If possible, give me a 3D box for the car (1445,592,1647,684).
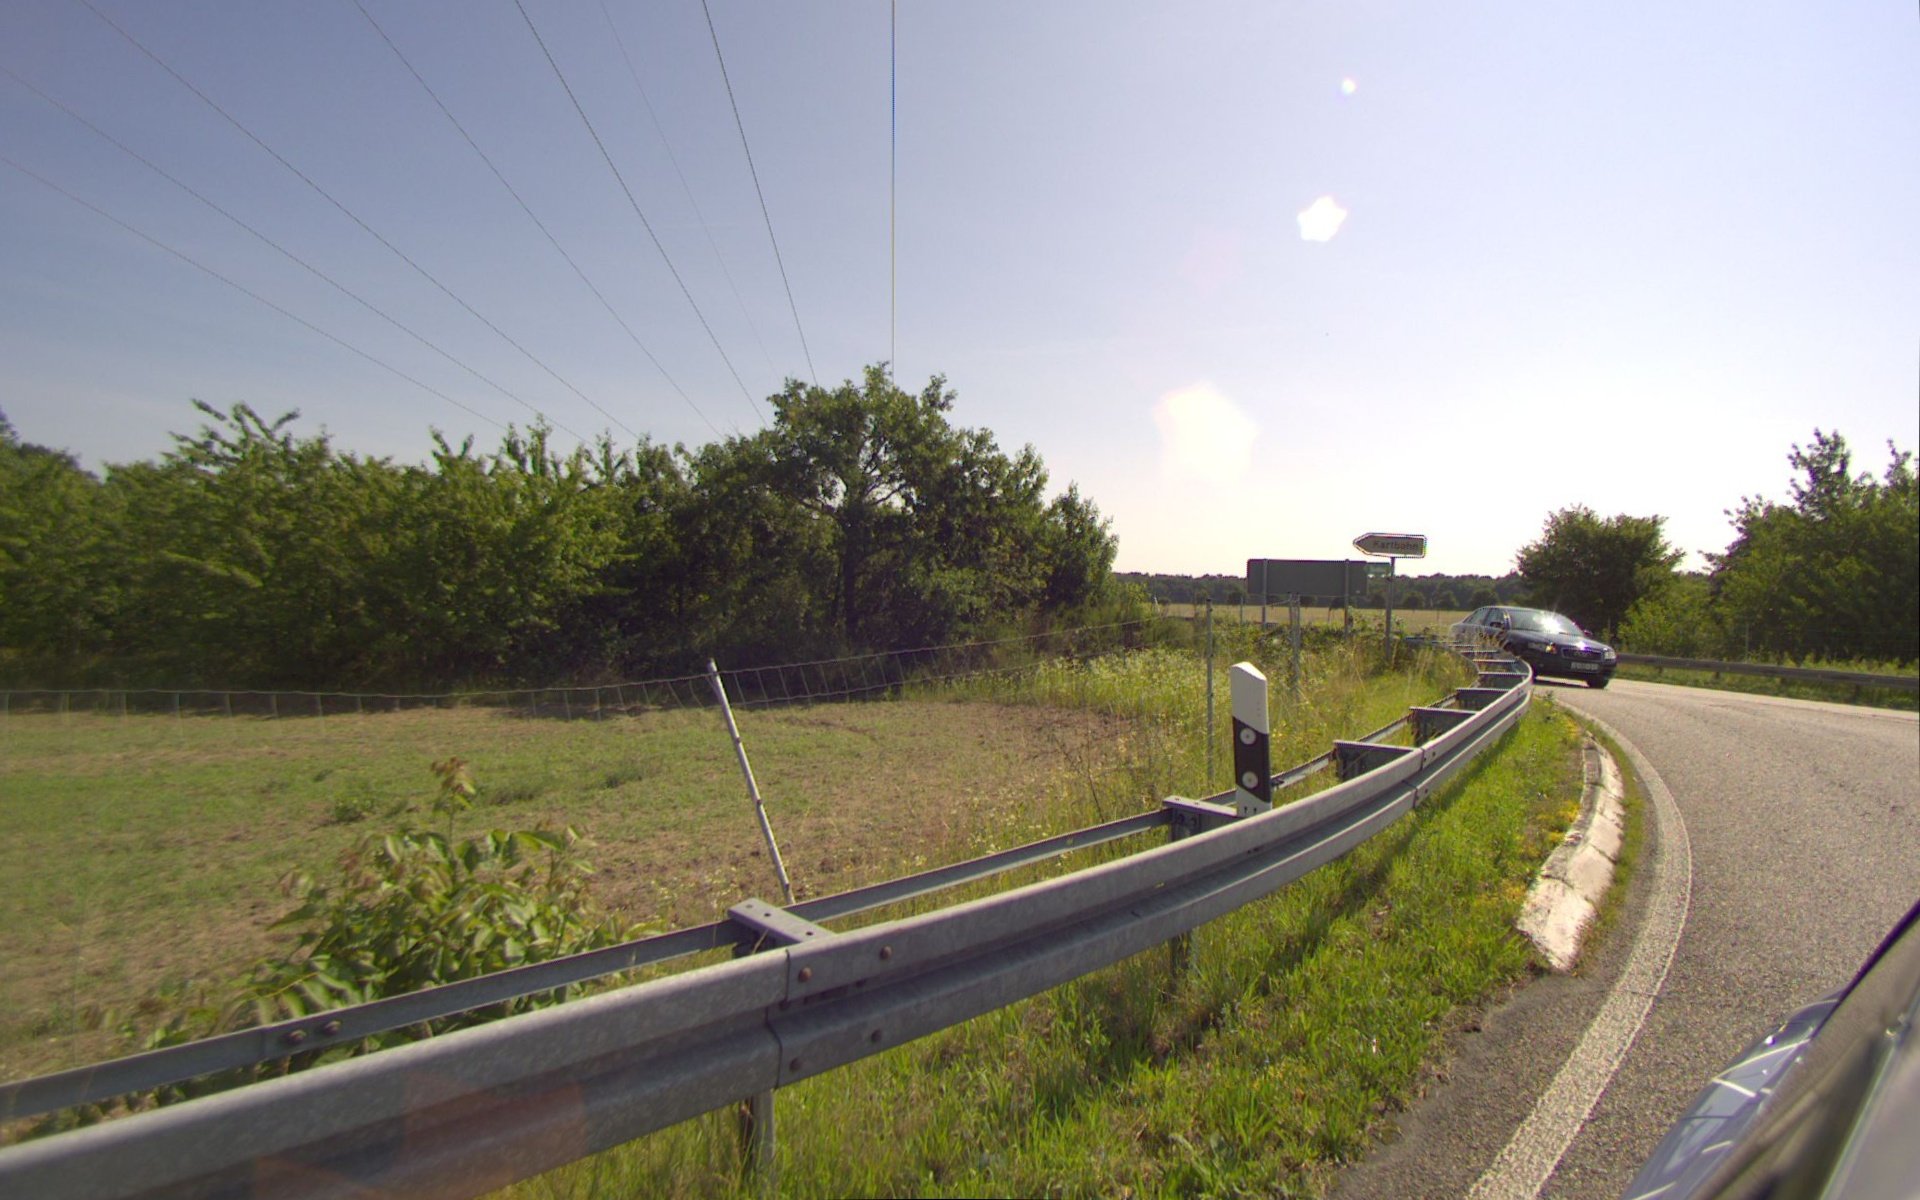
[{"bbox_3d":[11.265,0.684,19.832,1.856,1.475,4.067,4,0,7],"label":"car"}]
